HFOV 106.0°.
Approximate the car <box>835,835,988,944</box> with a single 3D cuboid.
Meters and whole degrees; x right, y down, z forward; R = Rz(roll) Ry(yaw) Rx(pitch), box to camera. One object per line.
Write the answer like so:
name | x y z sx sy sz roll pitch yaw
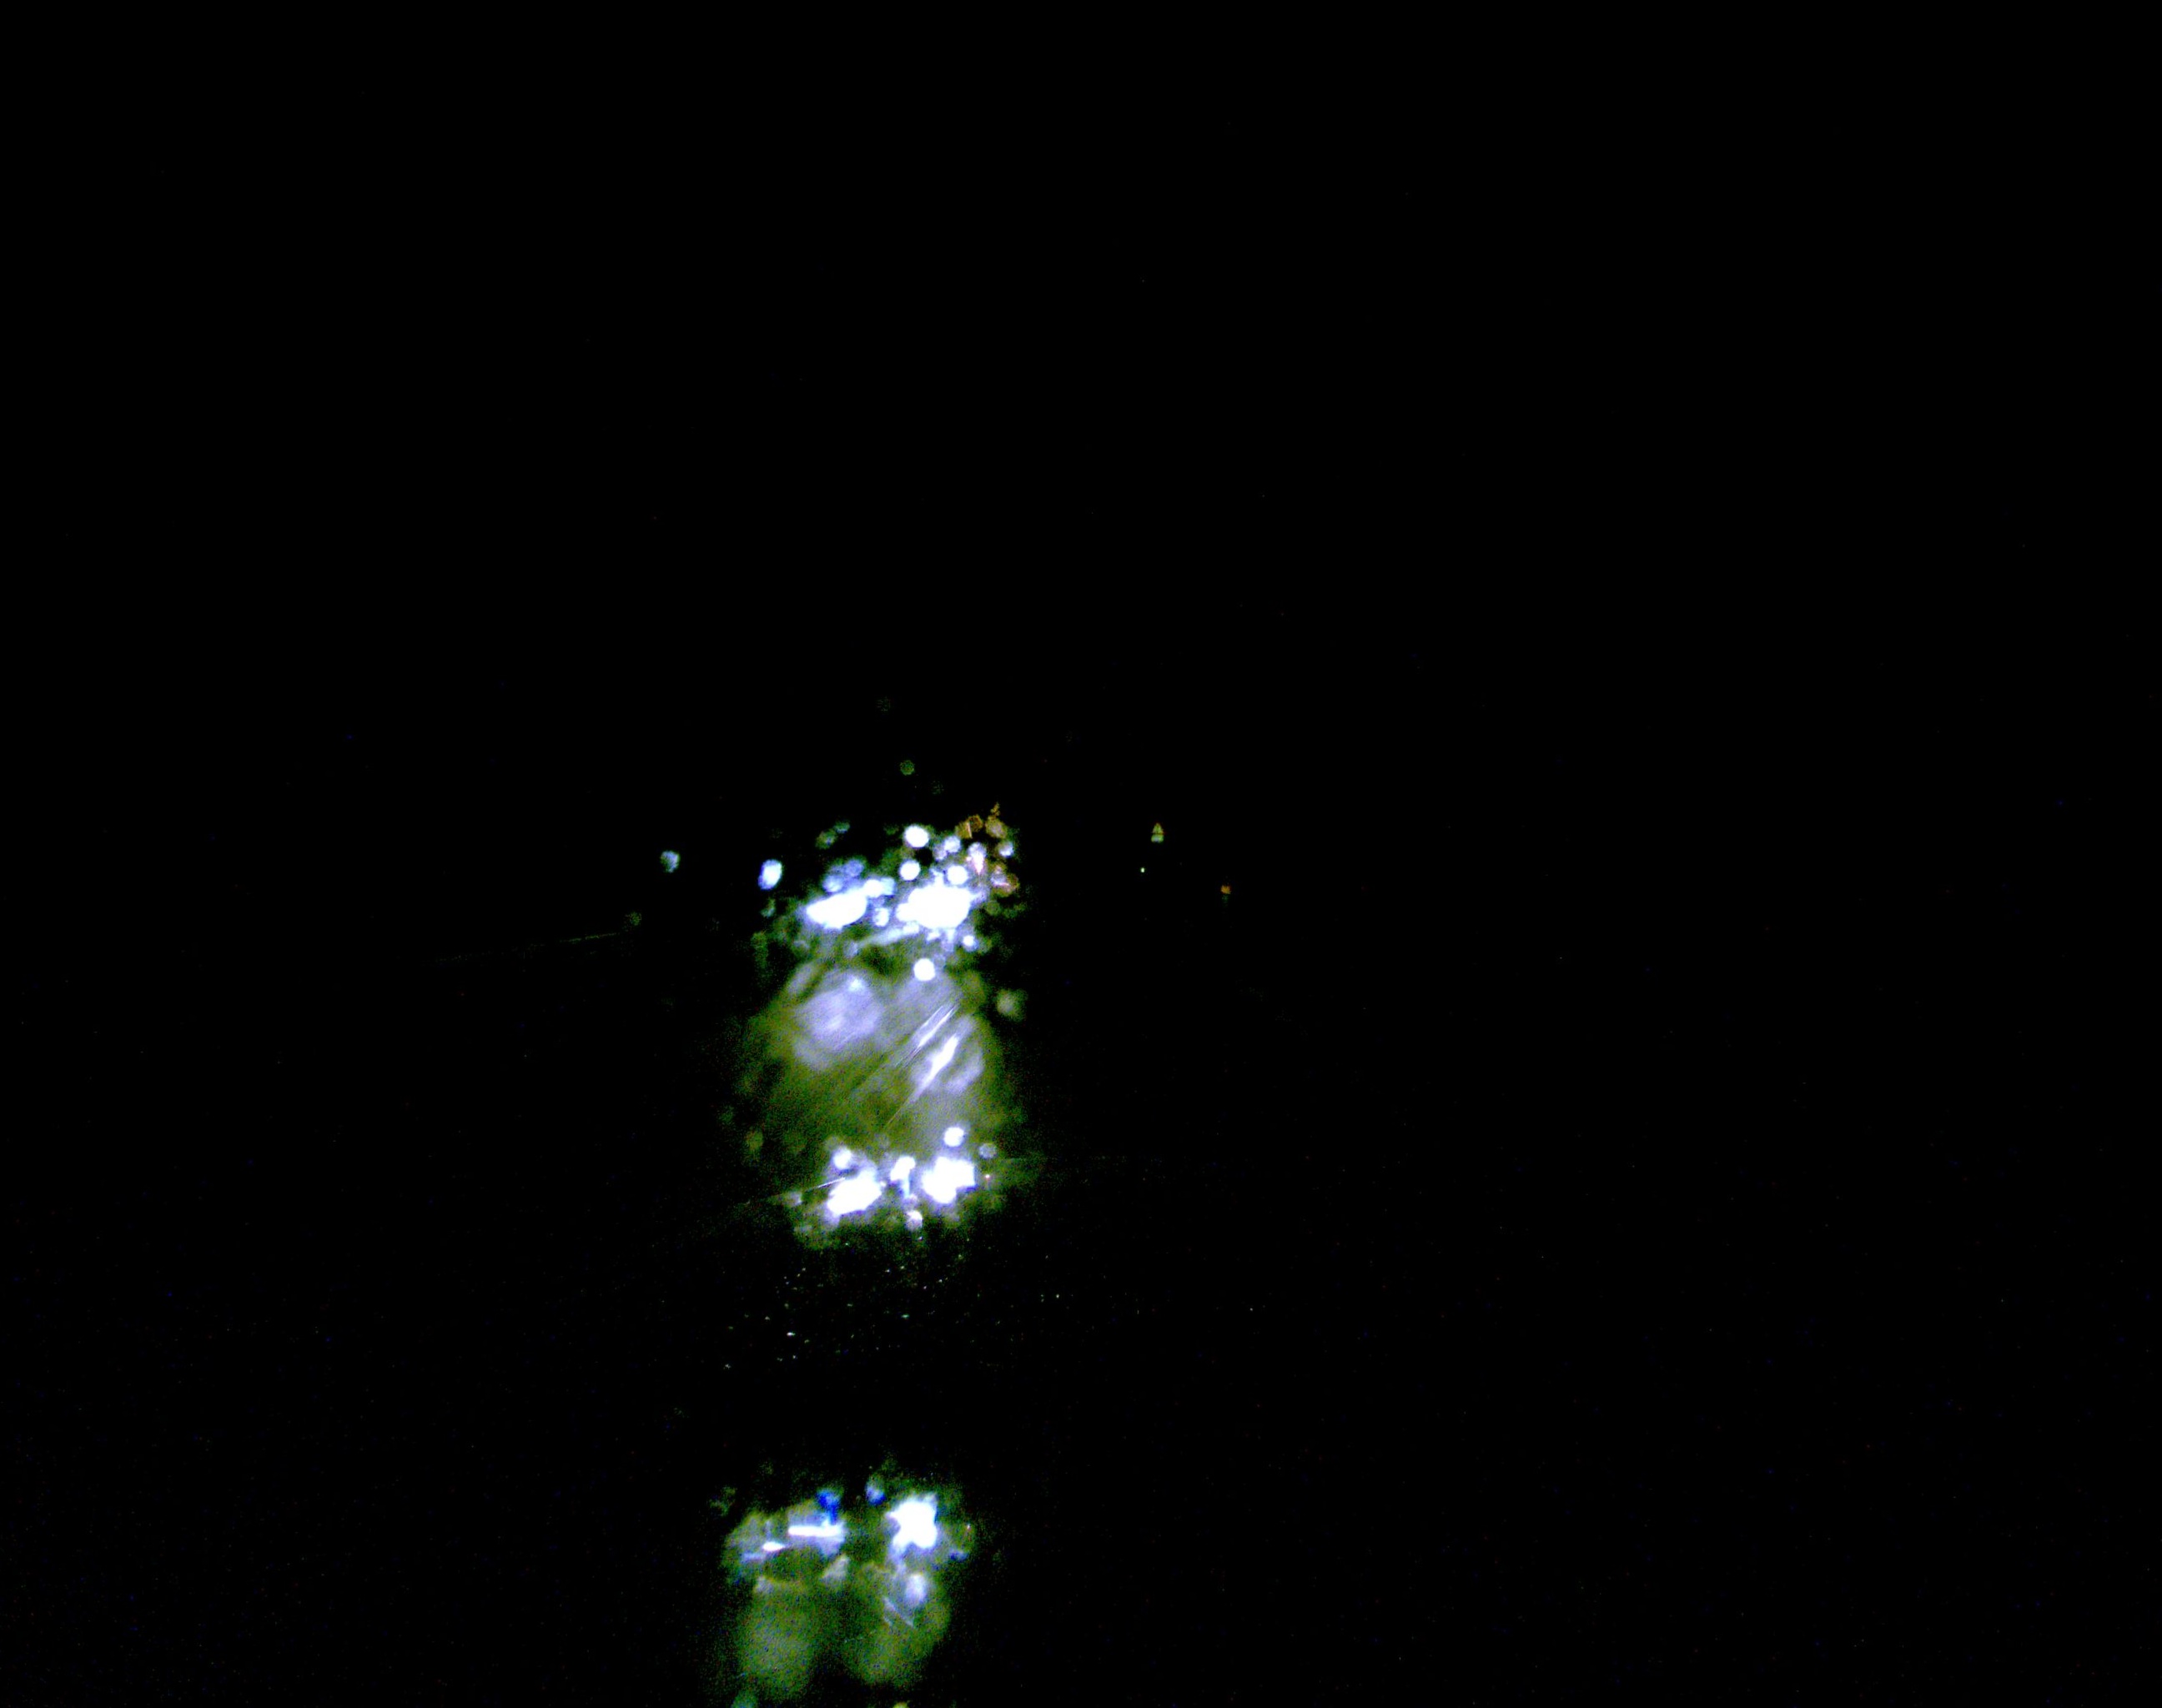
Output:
car | -2.975 0.586 15.284 1.987 1.750 4.257 0 -1 0
